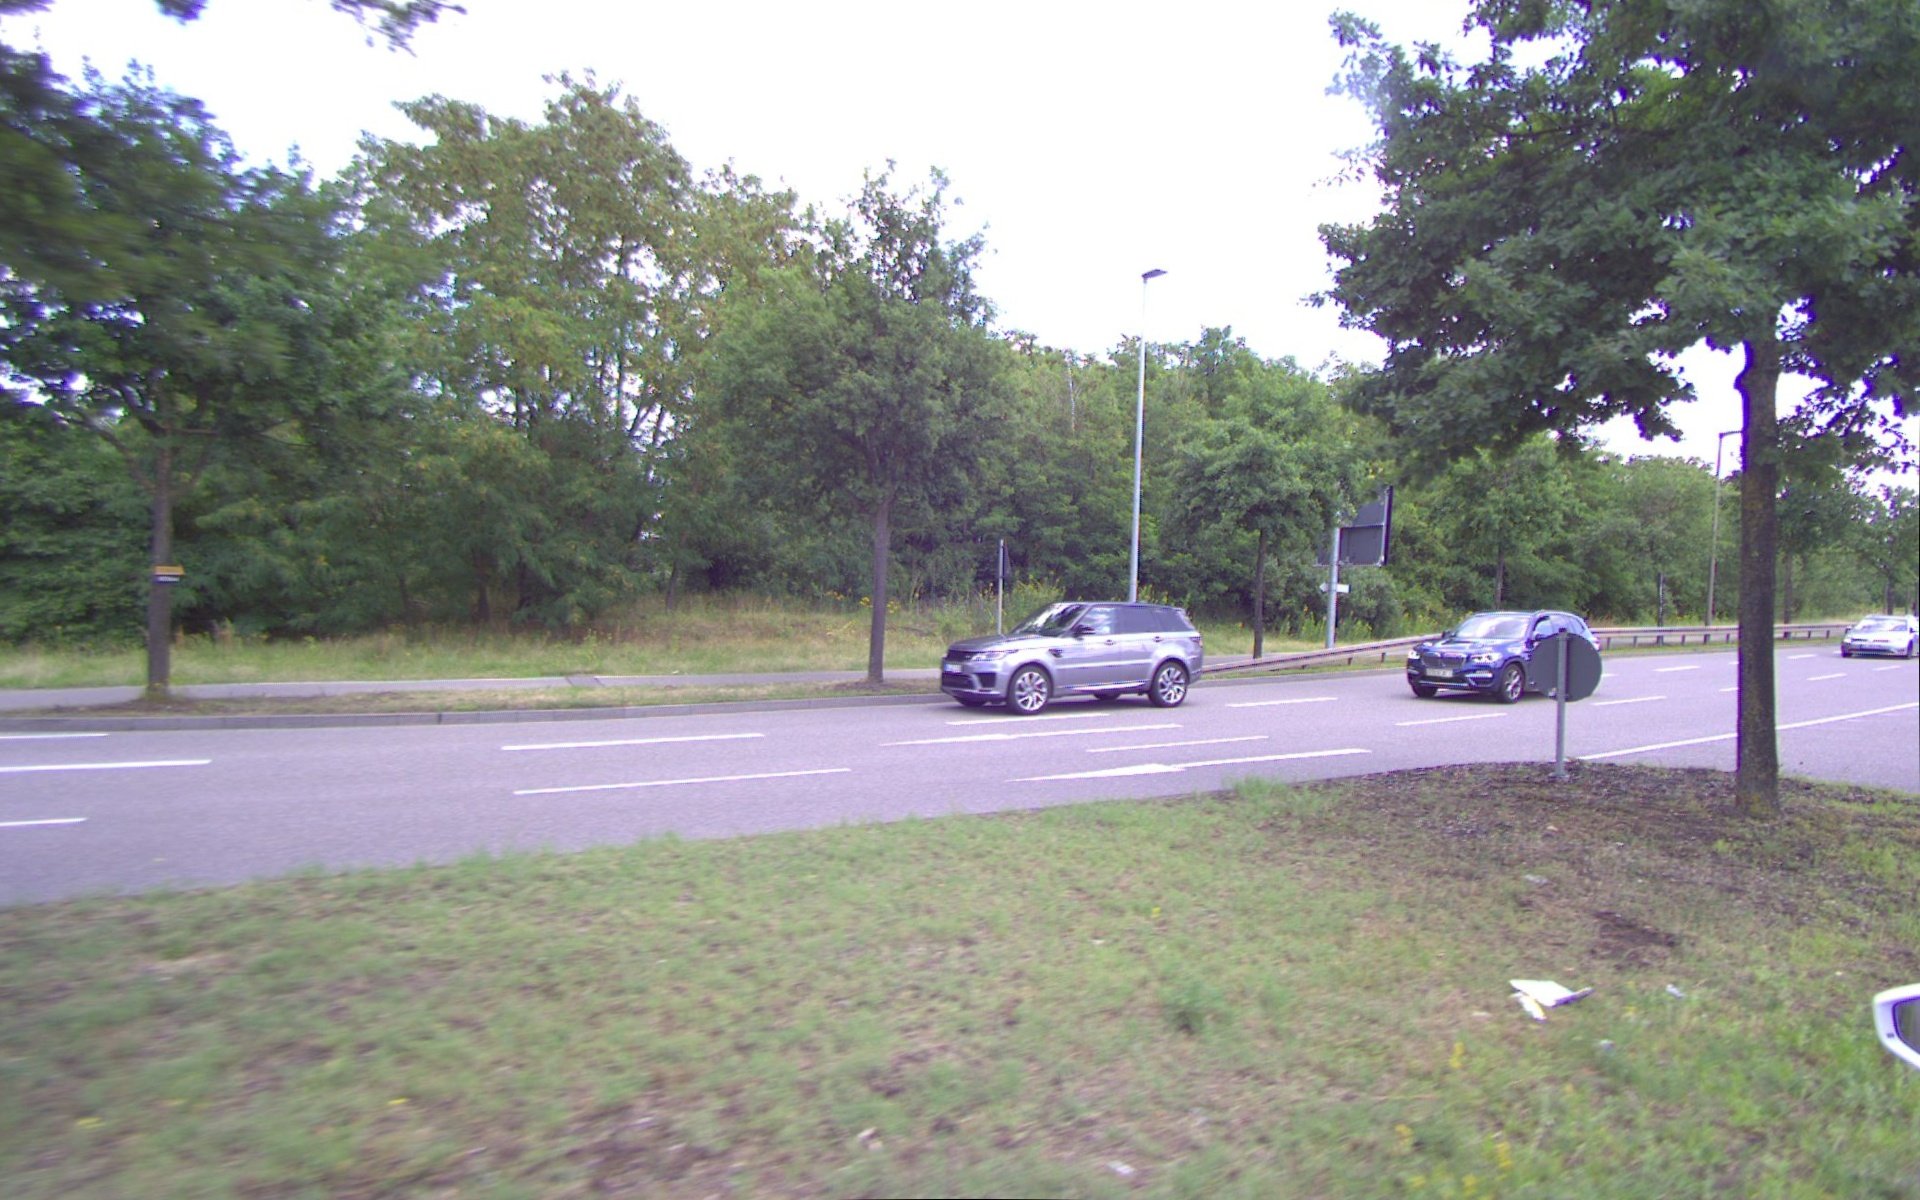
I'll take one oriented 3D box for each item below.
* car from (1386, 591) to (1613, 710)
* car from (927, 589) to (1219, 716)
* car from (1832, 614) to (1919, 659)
[{"bbox_3d":[10.595,0.855,19.618,4.769,2.041,1.980,0,1,-35],"label":"car"},{"bbox_3d":[1.971,0.857,17.057,4.660,1.886,1.984,2,0,-31],"label":"car"},{"bbox_3d":[32.547,1.225,35.184,4.652,1.415,1.980,0,1,-35],"label":"car"}]
